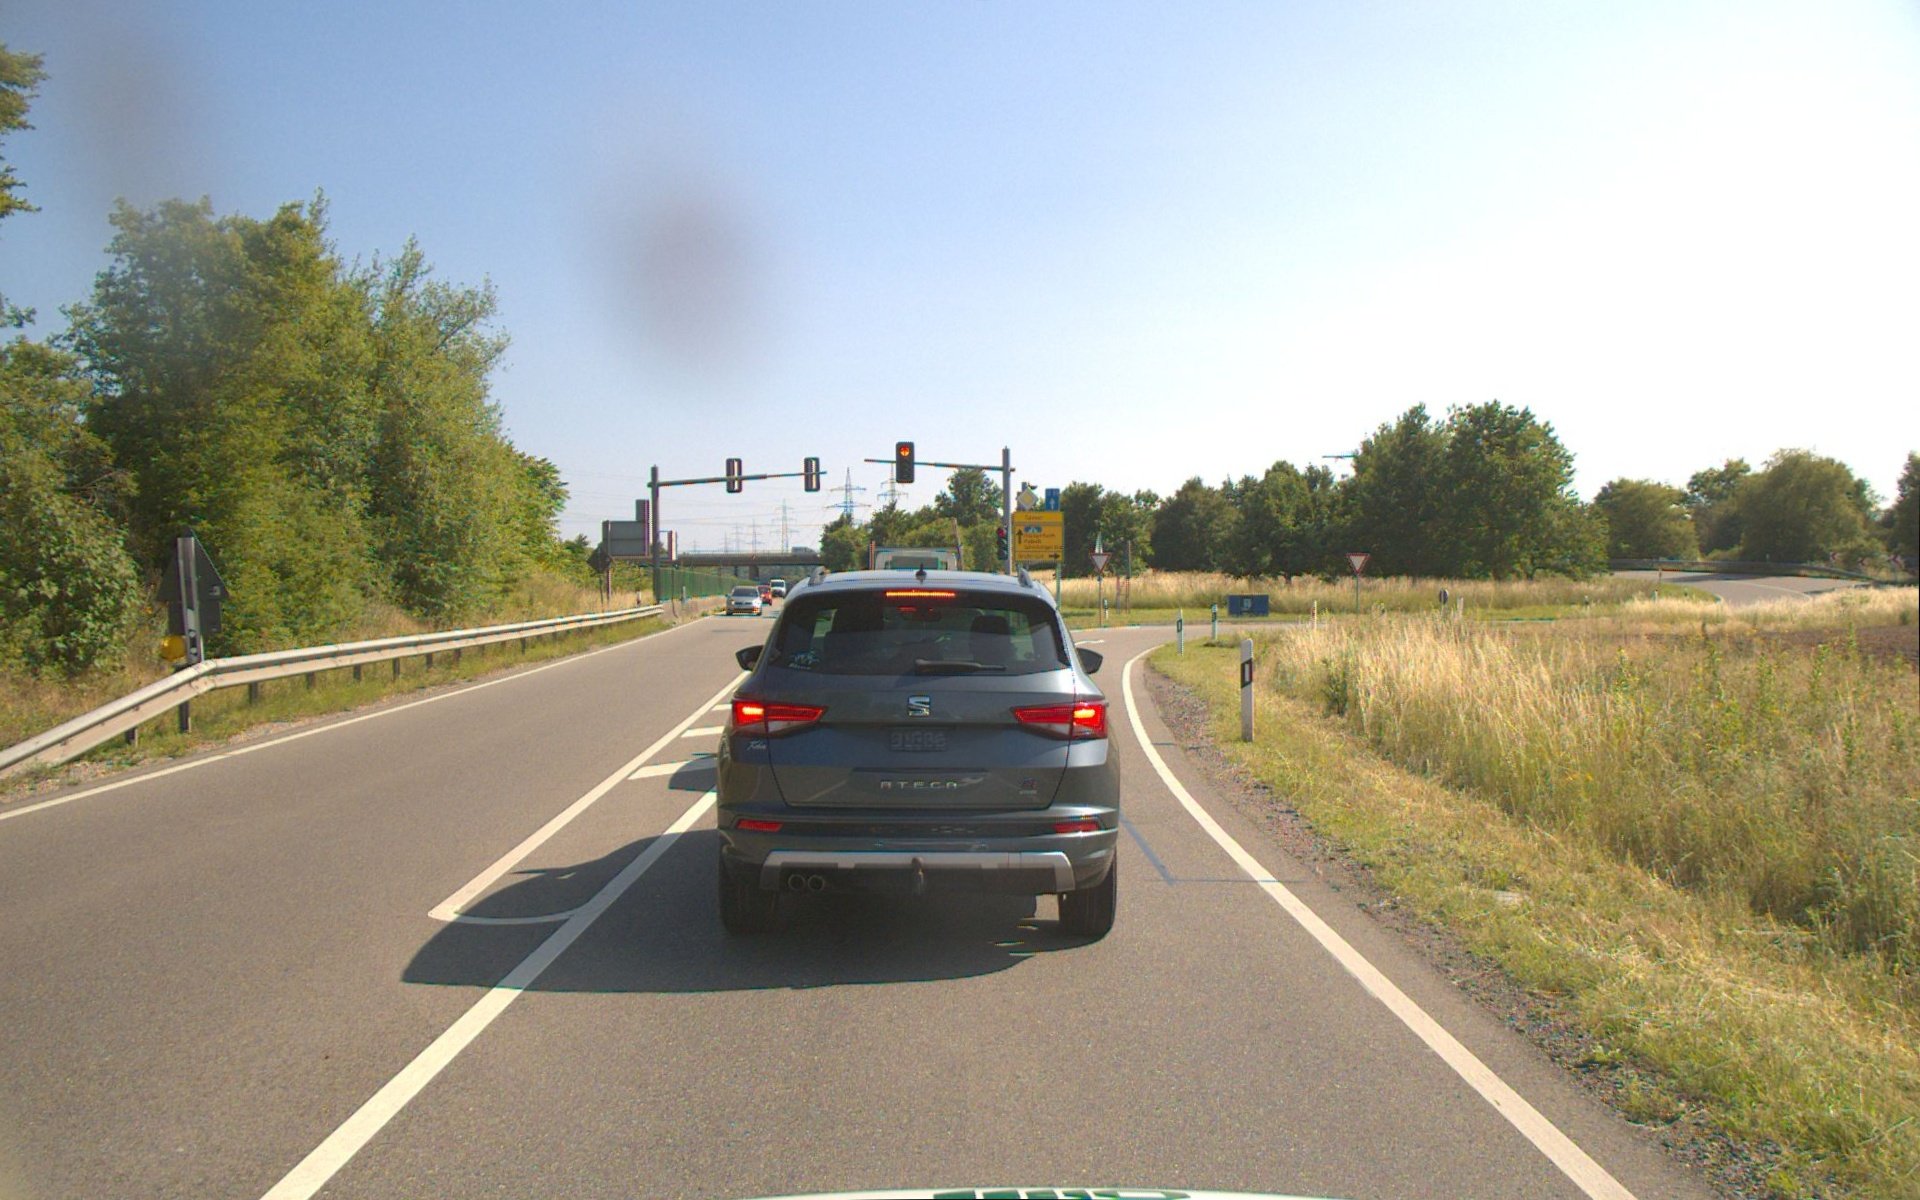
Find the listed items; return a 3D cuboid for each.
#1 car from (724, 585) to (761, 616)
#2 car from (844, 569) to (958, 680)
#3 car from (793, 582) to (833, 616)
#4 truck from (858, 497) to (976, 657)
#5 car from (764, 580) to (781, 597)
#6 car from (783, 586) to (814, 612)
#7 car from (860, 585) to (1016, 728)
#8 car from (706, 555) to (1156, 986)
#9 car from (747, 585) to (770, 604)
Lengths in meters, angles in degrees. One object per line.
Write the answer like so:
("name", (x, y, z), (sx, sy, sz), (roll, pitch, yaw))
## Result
("car", (-10.969, 0.008, 83.512), (1.789, 1.456, 3.994), (-1, 1, -7))
("car", (-1.020, 0.355, 27.616), (1.750, 1.705, 3.998), (0, 1, -3))
("car", (-7.083, -0.070, 79.301), (1.781, 1.567, 3.994), (-1, 1, -7))
("truck", (-0.938, -0.449, 35.291), (2.290, 3.120, 5.807), (0, 0, -2))
("car", (-23.510, -1.463, 206.746), (1.927, 1.986, 4.987), (-1, 1, -9))
("car", (-8.962, -0.051, 91.599), (1.652, 1.404, 3.529), (0, 1, -6))
("car", (-0.356, 0.614, 20.624), (1.750, 1.570, 3.998), (0, 1, -3))
("car", (-0.214, 0.632, 8.465), (1.750, 1.657, 3.998), (0, 1, -3))
("car", (-15.937, -0.427, 130.753), (1.728, 1.456, 3.994), (-1, 1, -7))
